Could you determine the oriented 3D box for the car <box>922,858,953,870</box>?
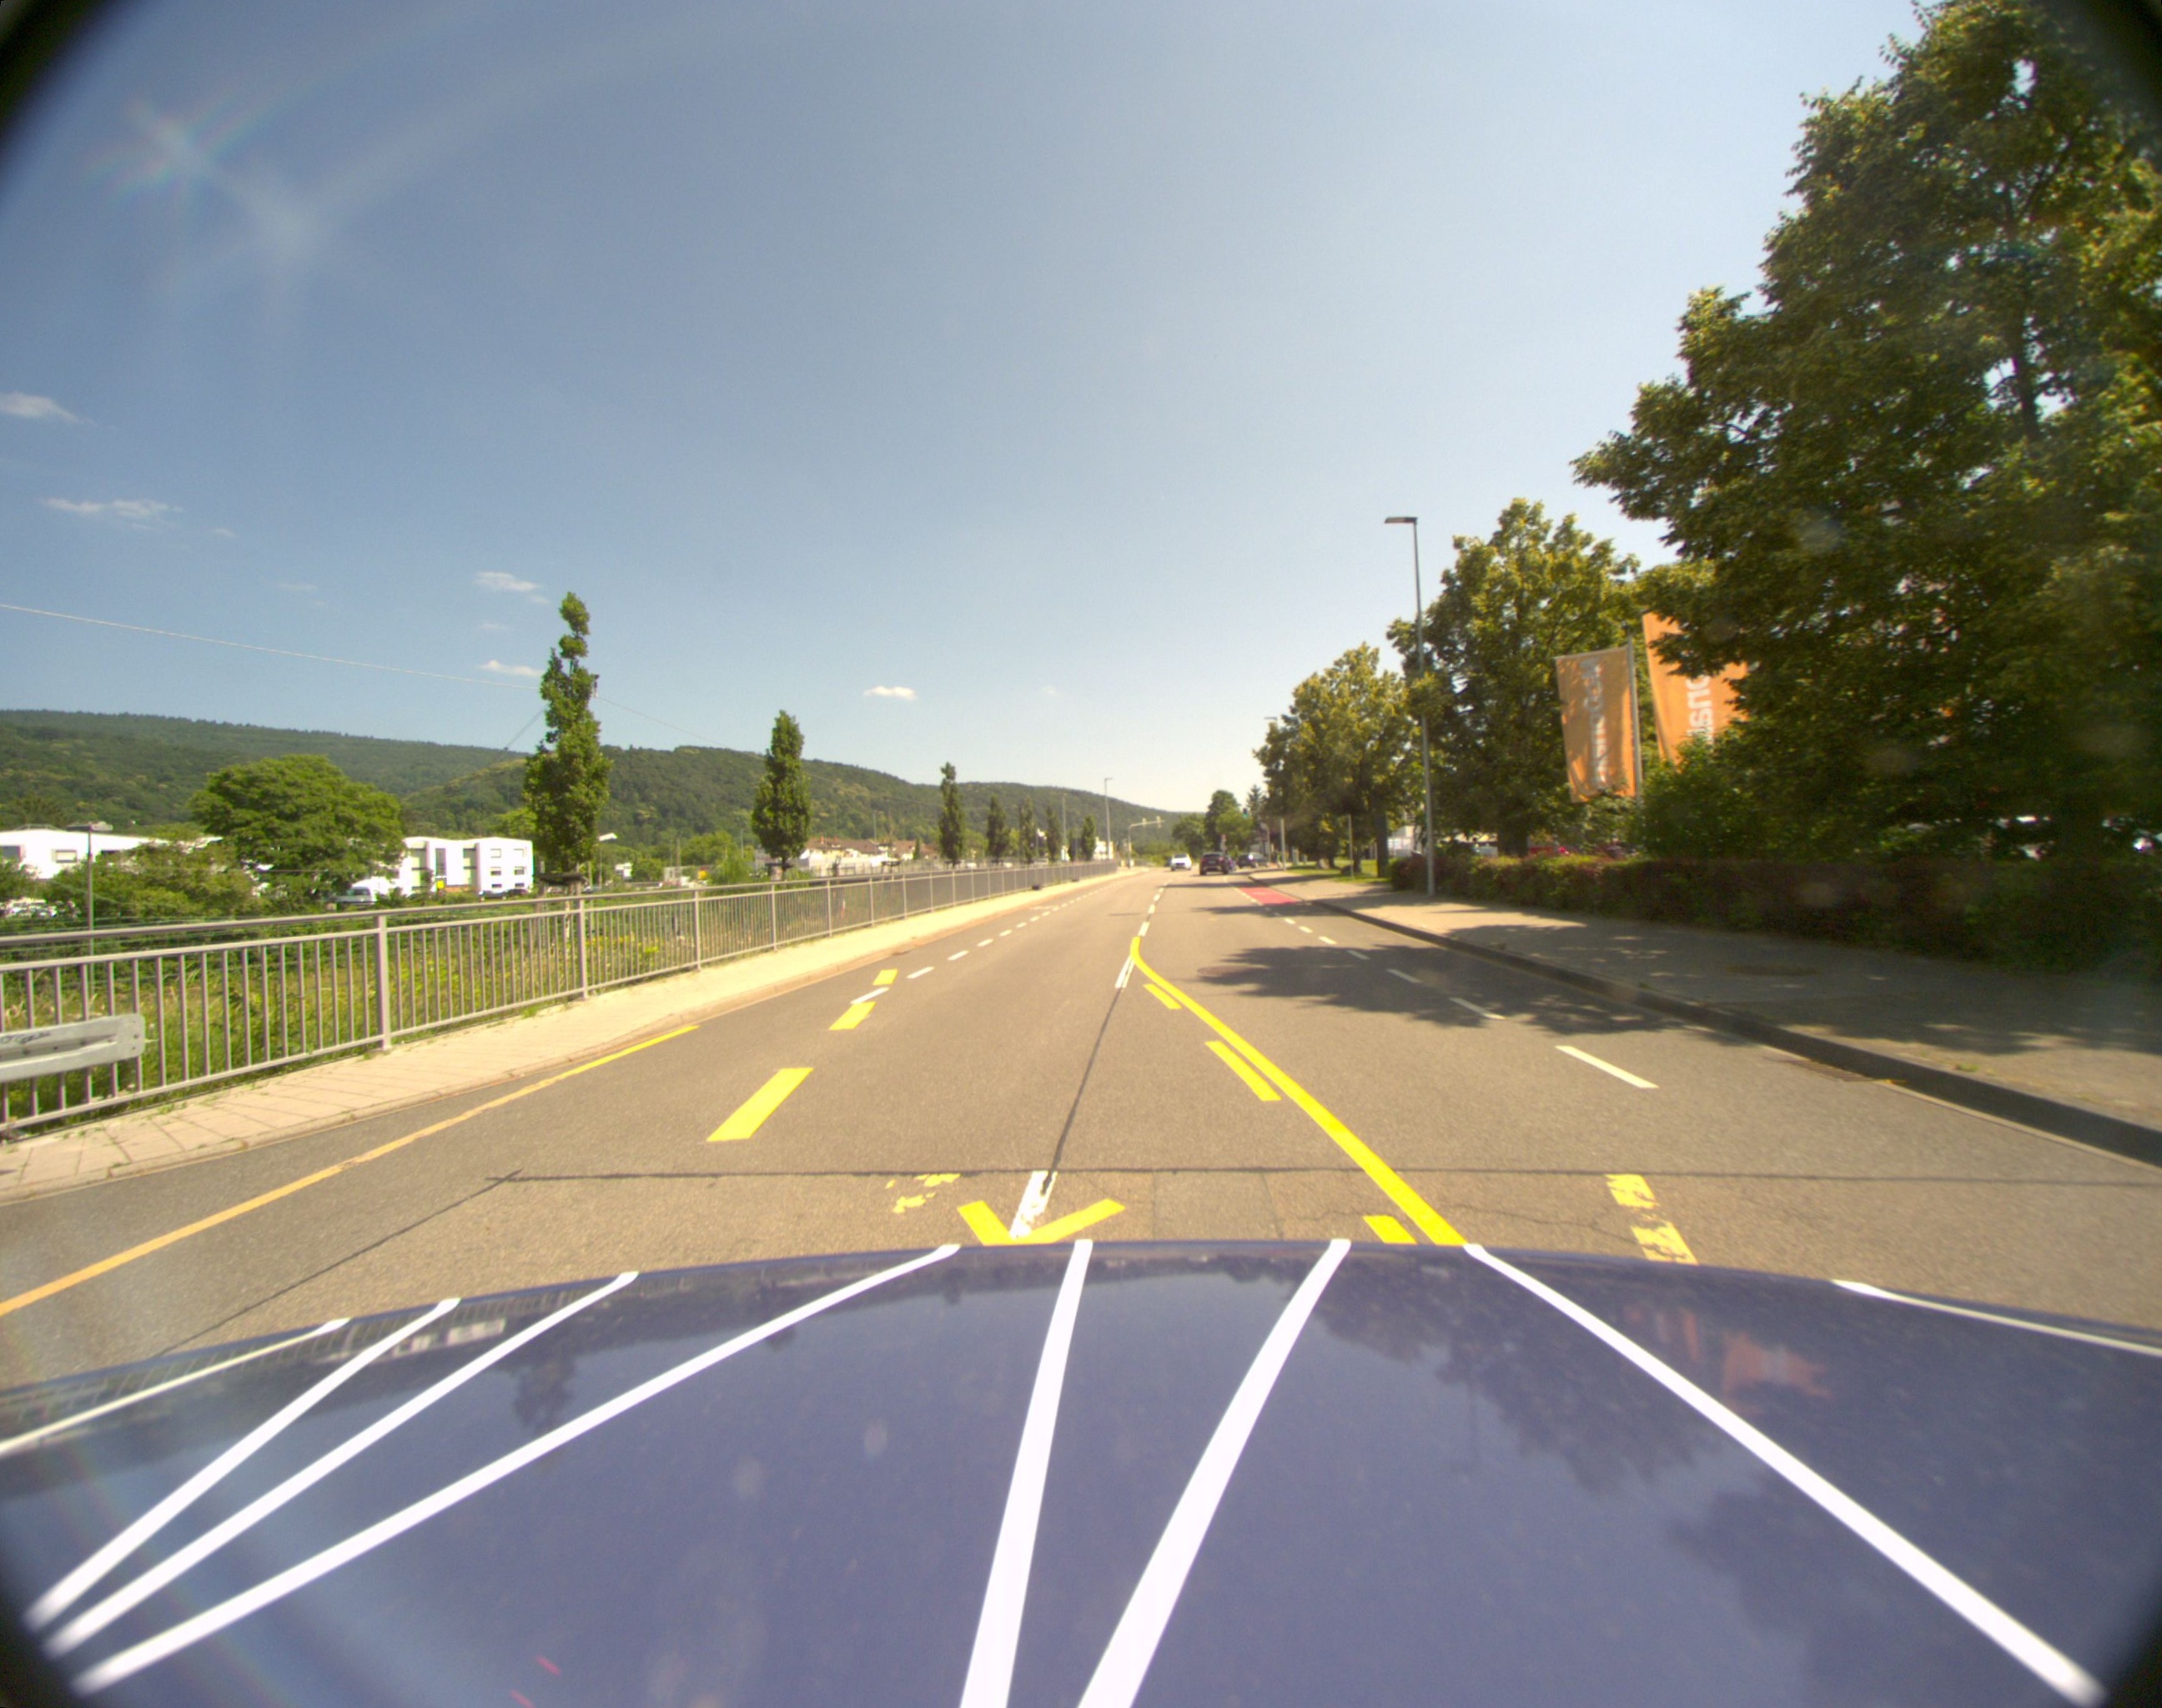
[{"bbox_3d":[-21.906,1.523,116.076,4.431,1.616,1.740,-3,-1,27],"label":"car"}]

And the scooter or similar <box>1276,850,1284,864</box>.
[{"bbox_3d":[16.456,0.248,62.931,0.472,1.177,1.367,-2,0,21],"label":"scooter or similar"}]

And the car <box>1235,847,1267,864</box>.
[{"bbox_3d":[16.474,0.118,73.354,1.781,1.487,4.731,-2,0,28],"label":"car"}]

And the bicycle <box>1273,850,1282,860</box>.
[{"bbox_3d":[20.523,0.096,79.255,0.697,1.098,1.758,-1,0,22],"label":"bicycle"}]

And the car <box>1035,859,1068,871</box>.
[{"bbox_3d":[-4.078,1.561,104.742,4.399,1.460,1.740,-3,-2,36],"label":"car"}]

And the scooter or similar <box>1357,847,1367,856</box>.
[{"bbox_3d":[33.889,-0.313,91.613,0.499,1.117,1.507,-2,0,42],"label":"scooter or similar"}]

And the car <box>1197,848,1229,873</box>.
[{"bbox_3d":[9.690,0.450,55.556,1.953,1.685,4.618,-2,0,14],"label":"car"}]

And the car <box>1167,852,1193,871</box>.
[{"bbox_3d":[9.955,0.756,76.625,1.998,1.709,4.633,-2,0,0],"label":"car"}]

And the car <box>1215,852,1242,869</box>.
[{"bbox_3d":[12.547,0.523,64.424,1.658,1.372,4.005,-2,0,18],"label":"car"}]

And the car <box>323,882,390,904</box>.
[{"bbox_3d":[-80.166,4.281,84.212,1.996,2.100,4.996,-2,0,15],"label":"car"}]

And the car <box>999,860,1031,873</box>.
[{"bbox_3d":[-9.508,1.812,109.039,4.430,1.616,1.740,-3,-2,36],"label":"car"}]

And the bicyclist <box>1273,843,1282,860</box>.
[{"bbox_3d":[20.498,-0.260,79.181,0.711,1.778,0.810,-2,0,23],"label":"bicyclist"}]

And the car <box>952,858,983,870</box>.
[{"bbox_3d":[-16.894,1.464,113.315,4.431,1.616,1.740,-3,-2,29],"label":"car"}]

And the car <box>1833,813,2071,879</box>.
[{"bbox_3d":[25.374,-0.186,22.374,1.719,1.725,4.243,-2,0,-15],"label":"car"}]
